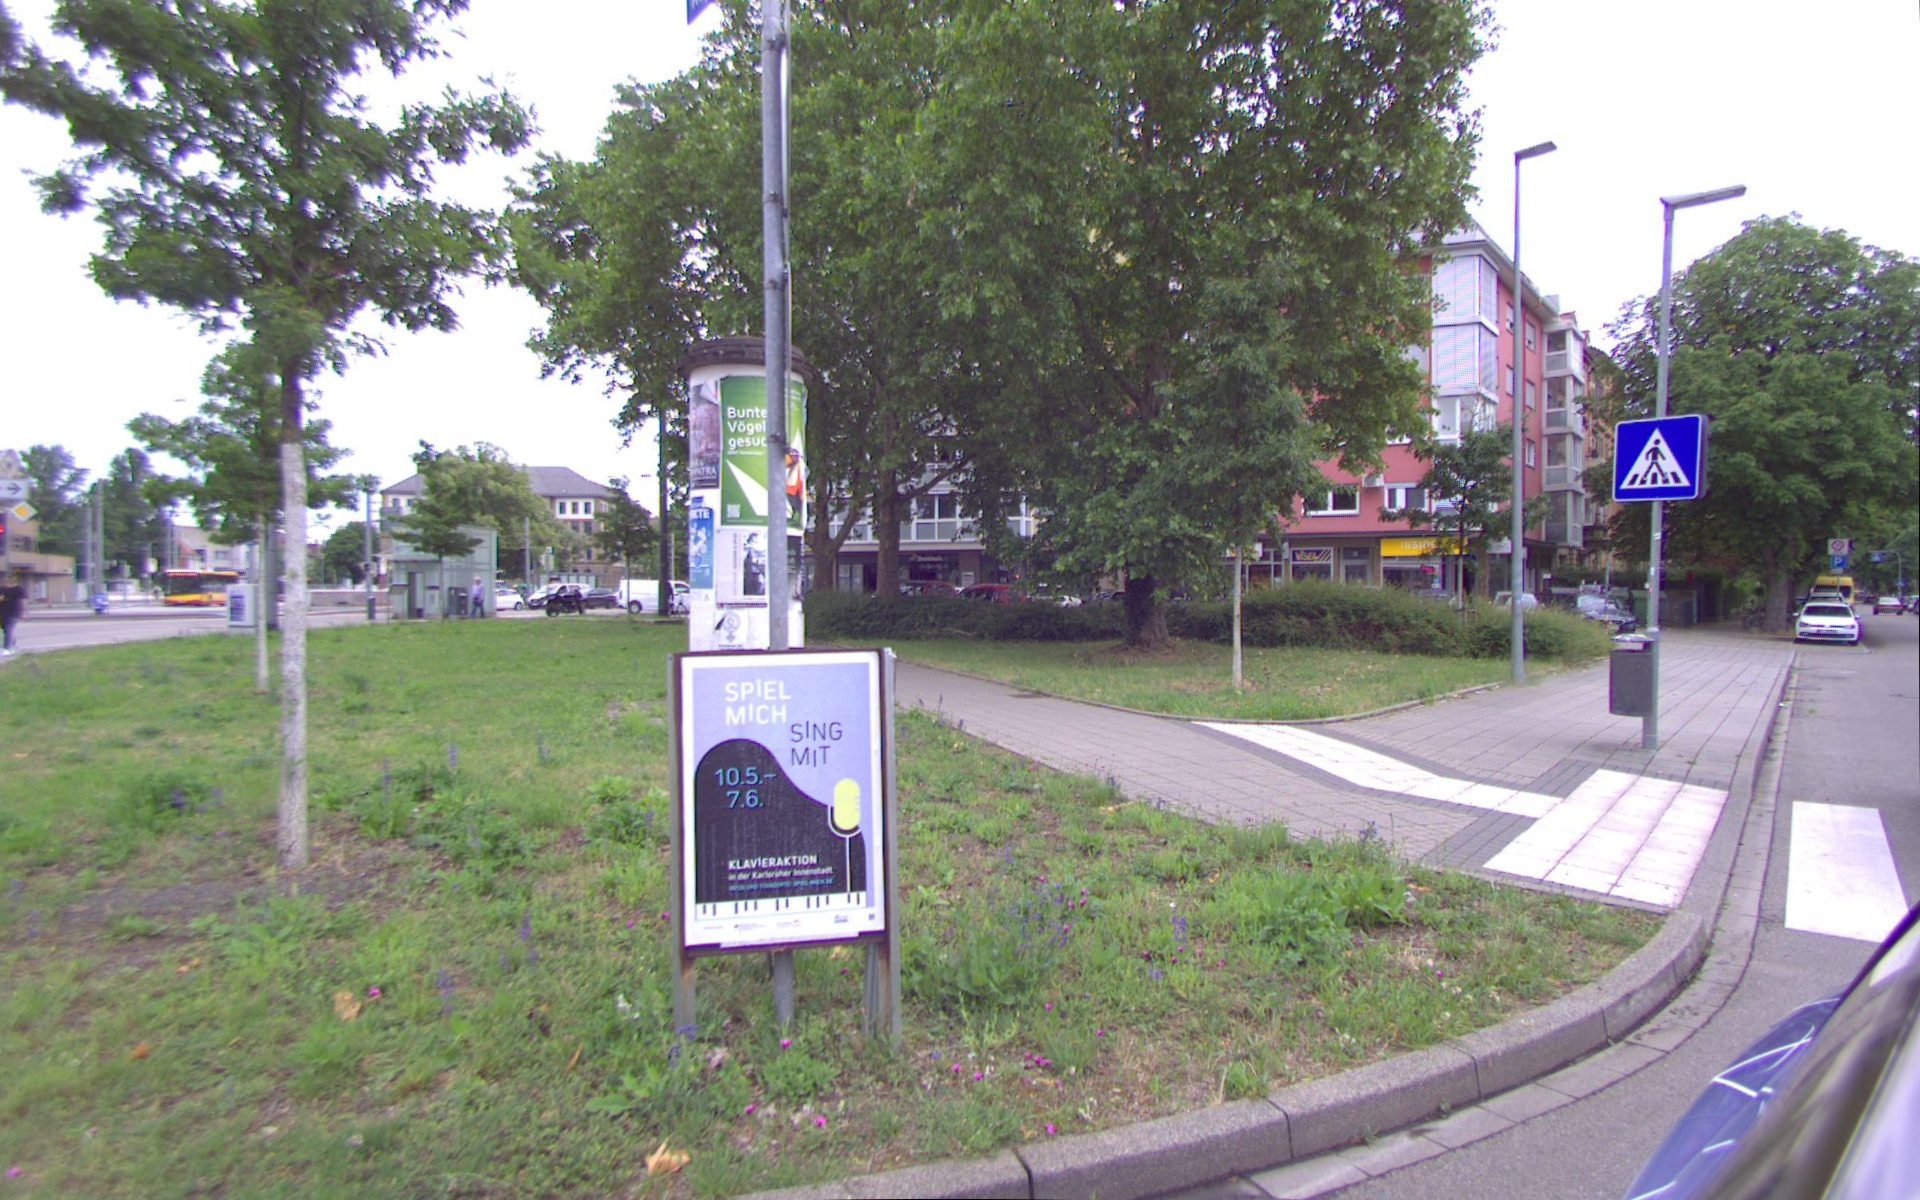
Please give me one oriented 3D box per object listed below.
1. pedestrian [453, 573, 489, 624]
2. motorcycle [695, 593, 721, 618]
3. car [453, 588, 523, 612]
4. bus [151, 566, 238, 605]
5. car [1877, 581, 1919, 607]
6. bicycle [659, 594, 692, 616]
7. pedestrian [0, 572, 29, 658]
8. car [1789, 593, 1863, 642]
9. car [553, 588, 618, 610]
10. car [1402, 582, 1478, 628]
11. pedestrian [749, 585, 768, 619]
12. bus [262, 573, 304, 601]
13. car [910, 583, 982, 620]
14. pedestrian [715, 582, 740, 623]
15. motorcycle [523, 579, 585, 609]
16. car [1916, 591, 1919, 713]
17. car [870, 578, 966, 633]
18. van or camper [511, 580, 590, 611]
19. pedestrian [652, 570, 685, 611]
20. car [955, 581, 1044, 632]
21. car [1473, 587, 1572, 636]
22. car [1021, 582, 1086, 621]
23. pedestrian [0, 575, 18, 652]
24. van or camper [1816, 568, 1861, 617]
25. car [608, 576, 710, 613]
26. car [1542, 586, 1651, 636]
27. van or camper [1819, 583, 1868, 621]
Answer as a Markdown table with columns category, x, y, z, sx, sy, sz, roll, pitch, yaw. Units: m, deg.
| category | x | y | z | sx | sy | sz | roll | pitch | yaw |
| --- | --- | --- | --- | --- | --- | --- | --- | --- | --- |
| pedestrian | -18.853 | -0.055 | 39.024 | 0.874 | 1.955 | 1.016 | 0 | 0 | 6 |
| motorcycle | -10.201 | 0.209 | 40.949 | 0.856 | 1.010 | 1.016 | 0 | 0 | -26 |
| car | -30.273 | -0.005 | 65.056 | 1.755 | 1.482 | 3.970 | -1 | 0 | 22 |
| bus | -65.091 | -1.215 | 86.411 | 2.908 | 3.162 | 11.561 | 0 | 1 | -22 |
| car | 74.959 | -0.478 | 80.923 | 2.012 | 2.011 | 4.717 | -1 | 0 | 38 |
| bicycle | -12.019 | 0.213 | 42.788 | 1.251 | 0.929 | 0.590 | 0 | 0 | 24 |
| pedestrian | -21.037 | 0.314 | 22.340 | 0.526 | 1.867 | 0.987 | 0 | 0 | -31 |
| car | 30.713 | 0.565 | 35.975 | 1.853 | 1.567 | 4.411 | 2 | 2 | 40 |
| car | -25.446 | -0.093 | 68.932 | 1.680 | 1.413 | 4.358 | 0 | 1 | 23 |
| car | 17.643 | 0.150 | 37.386 | 1.835 | 1.567 | 4.452 | 0 | 0 | 16 |
| pedestrian | -9.852 | 0.109 | 49.507 | 0.699 | 1.659 | 0.726 | 0 | 0 | -29 |
| bus | -84.122 | -1.565 | 125.896 | 2.607 | 3.324 | 11.013 | 0 | 1 | -25 |
| car | -0.549 | 0.044 | 44.274 | 1.836 | 1.508 | 4.450 | 0 | 0 | 18 |
| pedestrian | -9.618 | 0.110 | 41.830 | 0.630 | 1.659 | 0.866 | 0 | 0 | 21 |
| motorcycle | -16.541 | -0.237 | 41.283 | 0.761 | 1.183 | 2.358 | 0 | 0 | 33 |
| car | 7.148 | 0.659 | 6.037 | 1.746 | 1.485 | 4.040 | -2 | -1 | 39 |
| car | -1.335 | 0.151 | 34.172 | 1.836 | 1.744 | 4.450 | 0 | 0 | 18 |
| van or camper | -28.532 | -0.283 | 70.740 | 2.169 | 2.039 | 5.117 | -1 | 0 | 23 |
| pedestrian | -13.401 | -0.438 | 46.556 | 1.075 | 1.820 | 0.940 | -1 | -1 | 23 |
| car | 1.379 | 0.184 | 33.373 | 1.836 | 1.567 | 4.450 | 0 | 0 | 18 |
| car | 20.274 | 0.366 | 36.691 | 1.832 | 1.567 | 4.462 | 0 | 1 | 11 |
| car | 4.024 | 0.023 | 42.945 | 1.836 | 1.567 | 4.450 | 0 | 0 | 18 |
| pedestrian | -24.489 | 0.334 | 25.345 | 0.724 | 1.931 | 1.101 | 0 | -1 | 11 |
| van or camper | 52.005 | -0.436 | 59.939 | 1.992 | 2.807 | 3.941 | 0 | 0 | 41 |
| car | -17.638 | -0.314 | 59.279 | 5.617 | 2.039 | 2.032 | -1 | -1 | -18 |
| car | 22.265 | 0.328 | 35.585 | 1.833 | 1.567 | 4.459 | 0 | 1 | 13 |
| van or camper | 49.003 | 0.070 | 56.169 | 1.992 | 2.039 | 3.941 | 0 | 0 | 41 |
